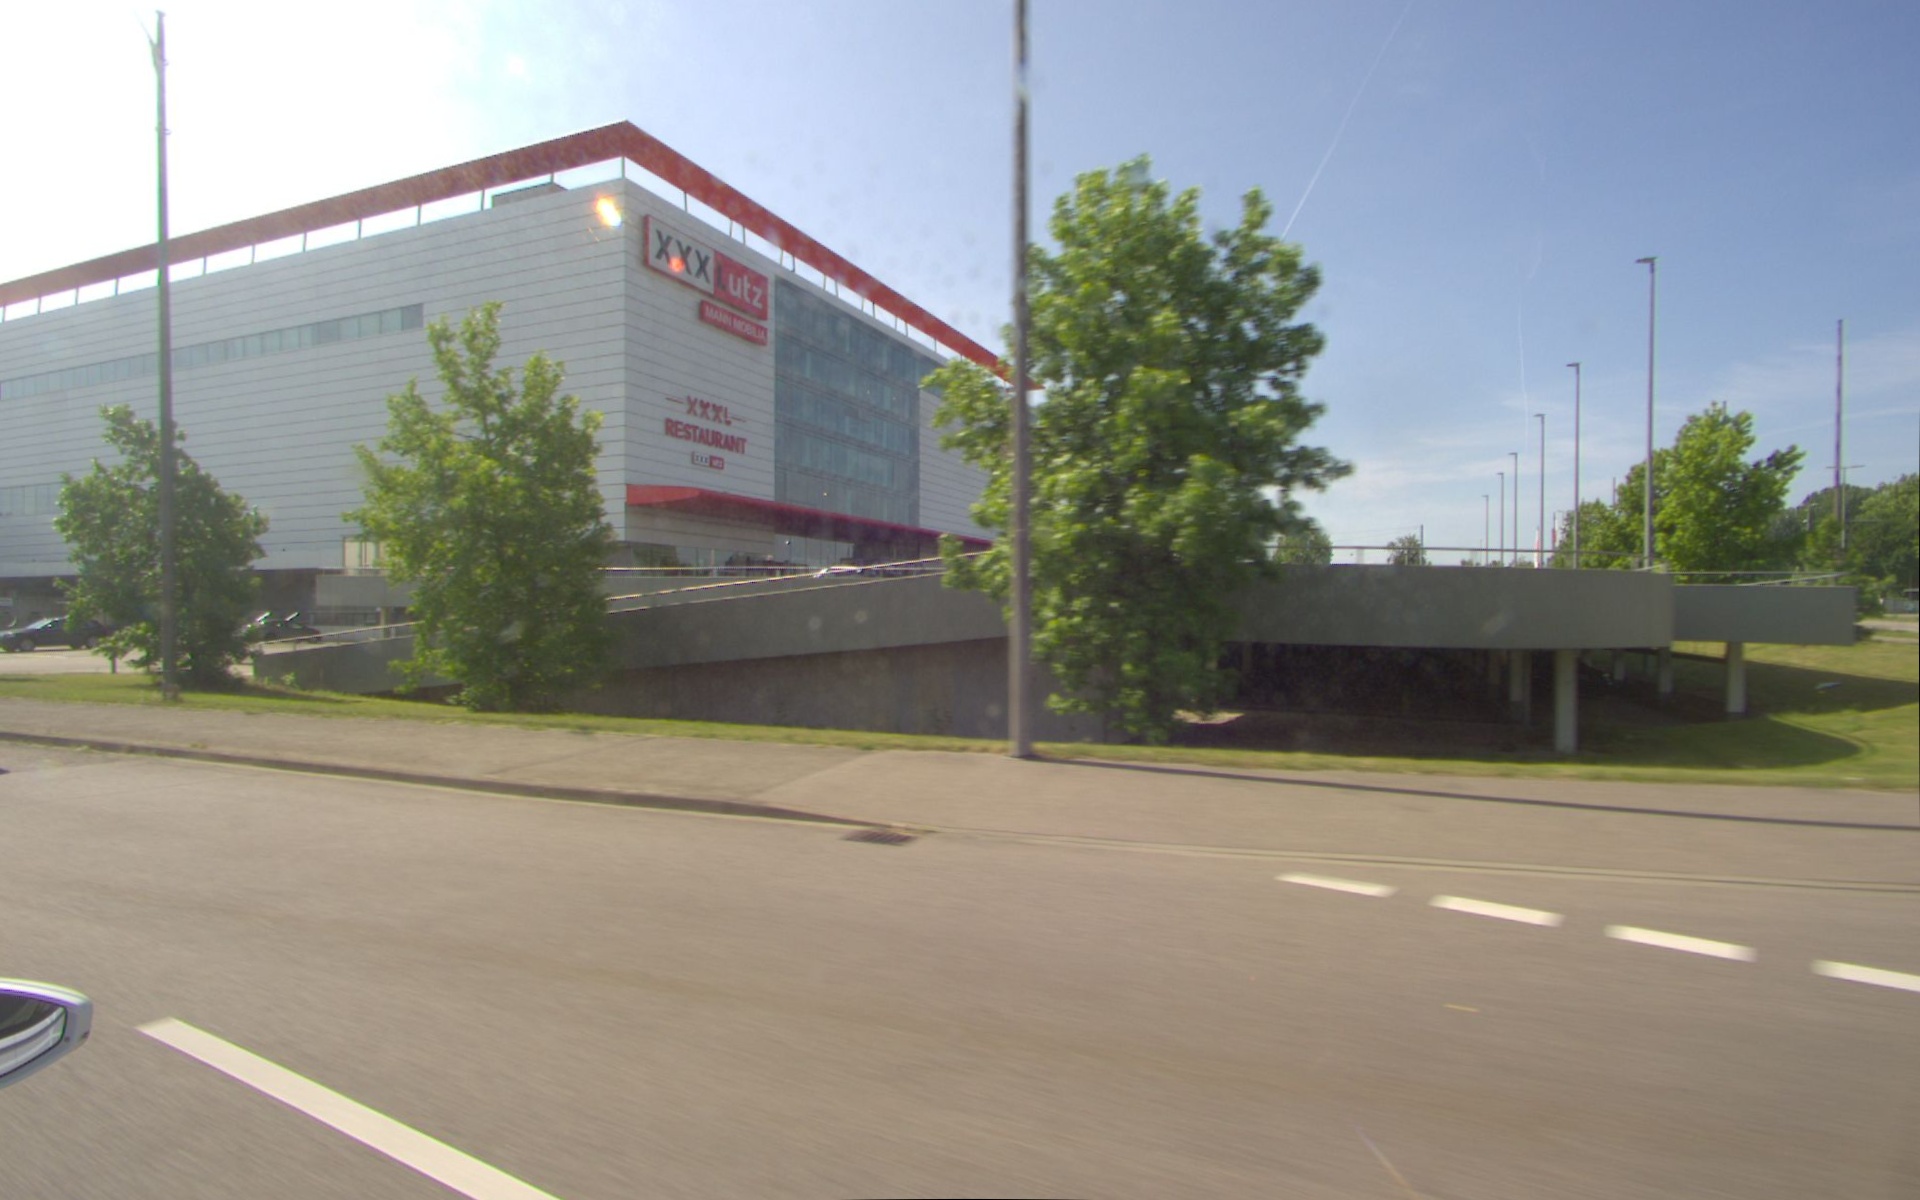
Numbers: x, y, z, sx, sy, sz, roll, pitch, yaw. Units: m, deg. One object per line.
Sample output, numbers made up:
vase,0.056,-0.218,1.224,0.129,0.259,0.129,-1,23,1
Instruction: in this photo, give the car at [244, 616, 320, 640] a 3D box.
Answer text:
car,-41.363,1.725,61.155,1.576,1.393,3.520,1,-2,23

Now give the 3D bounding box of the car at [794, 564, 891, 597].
car,-5.405,-0.864,46.094,4.131,1.438,1.771,0,-1,25

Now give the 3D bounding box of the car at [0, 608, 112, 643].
car,-47.456,1.291,52.356,1.806,1.636,4.424,1,1,22

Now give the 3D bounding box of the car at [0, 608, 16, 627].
car,-73.437,1.308,76.062,3.202,1.487,1.511,1,-1,27

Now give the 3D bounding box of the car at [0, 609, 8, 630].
car,-70.829,1.391,72.342,4.028,1.529,1.673,0,-1,27
